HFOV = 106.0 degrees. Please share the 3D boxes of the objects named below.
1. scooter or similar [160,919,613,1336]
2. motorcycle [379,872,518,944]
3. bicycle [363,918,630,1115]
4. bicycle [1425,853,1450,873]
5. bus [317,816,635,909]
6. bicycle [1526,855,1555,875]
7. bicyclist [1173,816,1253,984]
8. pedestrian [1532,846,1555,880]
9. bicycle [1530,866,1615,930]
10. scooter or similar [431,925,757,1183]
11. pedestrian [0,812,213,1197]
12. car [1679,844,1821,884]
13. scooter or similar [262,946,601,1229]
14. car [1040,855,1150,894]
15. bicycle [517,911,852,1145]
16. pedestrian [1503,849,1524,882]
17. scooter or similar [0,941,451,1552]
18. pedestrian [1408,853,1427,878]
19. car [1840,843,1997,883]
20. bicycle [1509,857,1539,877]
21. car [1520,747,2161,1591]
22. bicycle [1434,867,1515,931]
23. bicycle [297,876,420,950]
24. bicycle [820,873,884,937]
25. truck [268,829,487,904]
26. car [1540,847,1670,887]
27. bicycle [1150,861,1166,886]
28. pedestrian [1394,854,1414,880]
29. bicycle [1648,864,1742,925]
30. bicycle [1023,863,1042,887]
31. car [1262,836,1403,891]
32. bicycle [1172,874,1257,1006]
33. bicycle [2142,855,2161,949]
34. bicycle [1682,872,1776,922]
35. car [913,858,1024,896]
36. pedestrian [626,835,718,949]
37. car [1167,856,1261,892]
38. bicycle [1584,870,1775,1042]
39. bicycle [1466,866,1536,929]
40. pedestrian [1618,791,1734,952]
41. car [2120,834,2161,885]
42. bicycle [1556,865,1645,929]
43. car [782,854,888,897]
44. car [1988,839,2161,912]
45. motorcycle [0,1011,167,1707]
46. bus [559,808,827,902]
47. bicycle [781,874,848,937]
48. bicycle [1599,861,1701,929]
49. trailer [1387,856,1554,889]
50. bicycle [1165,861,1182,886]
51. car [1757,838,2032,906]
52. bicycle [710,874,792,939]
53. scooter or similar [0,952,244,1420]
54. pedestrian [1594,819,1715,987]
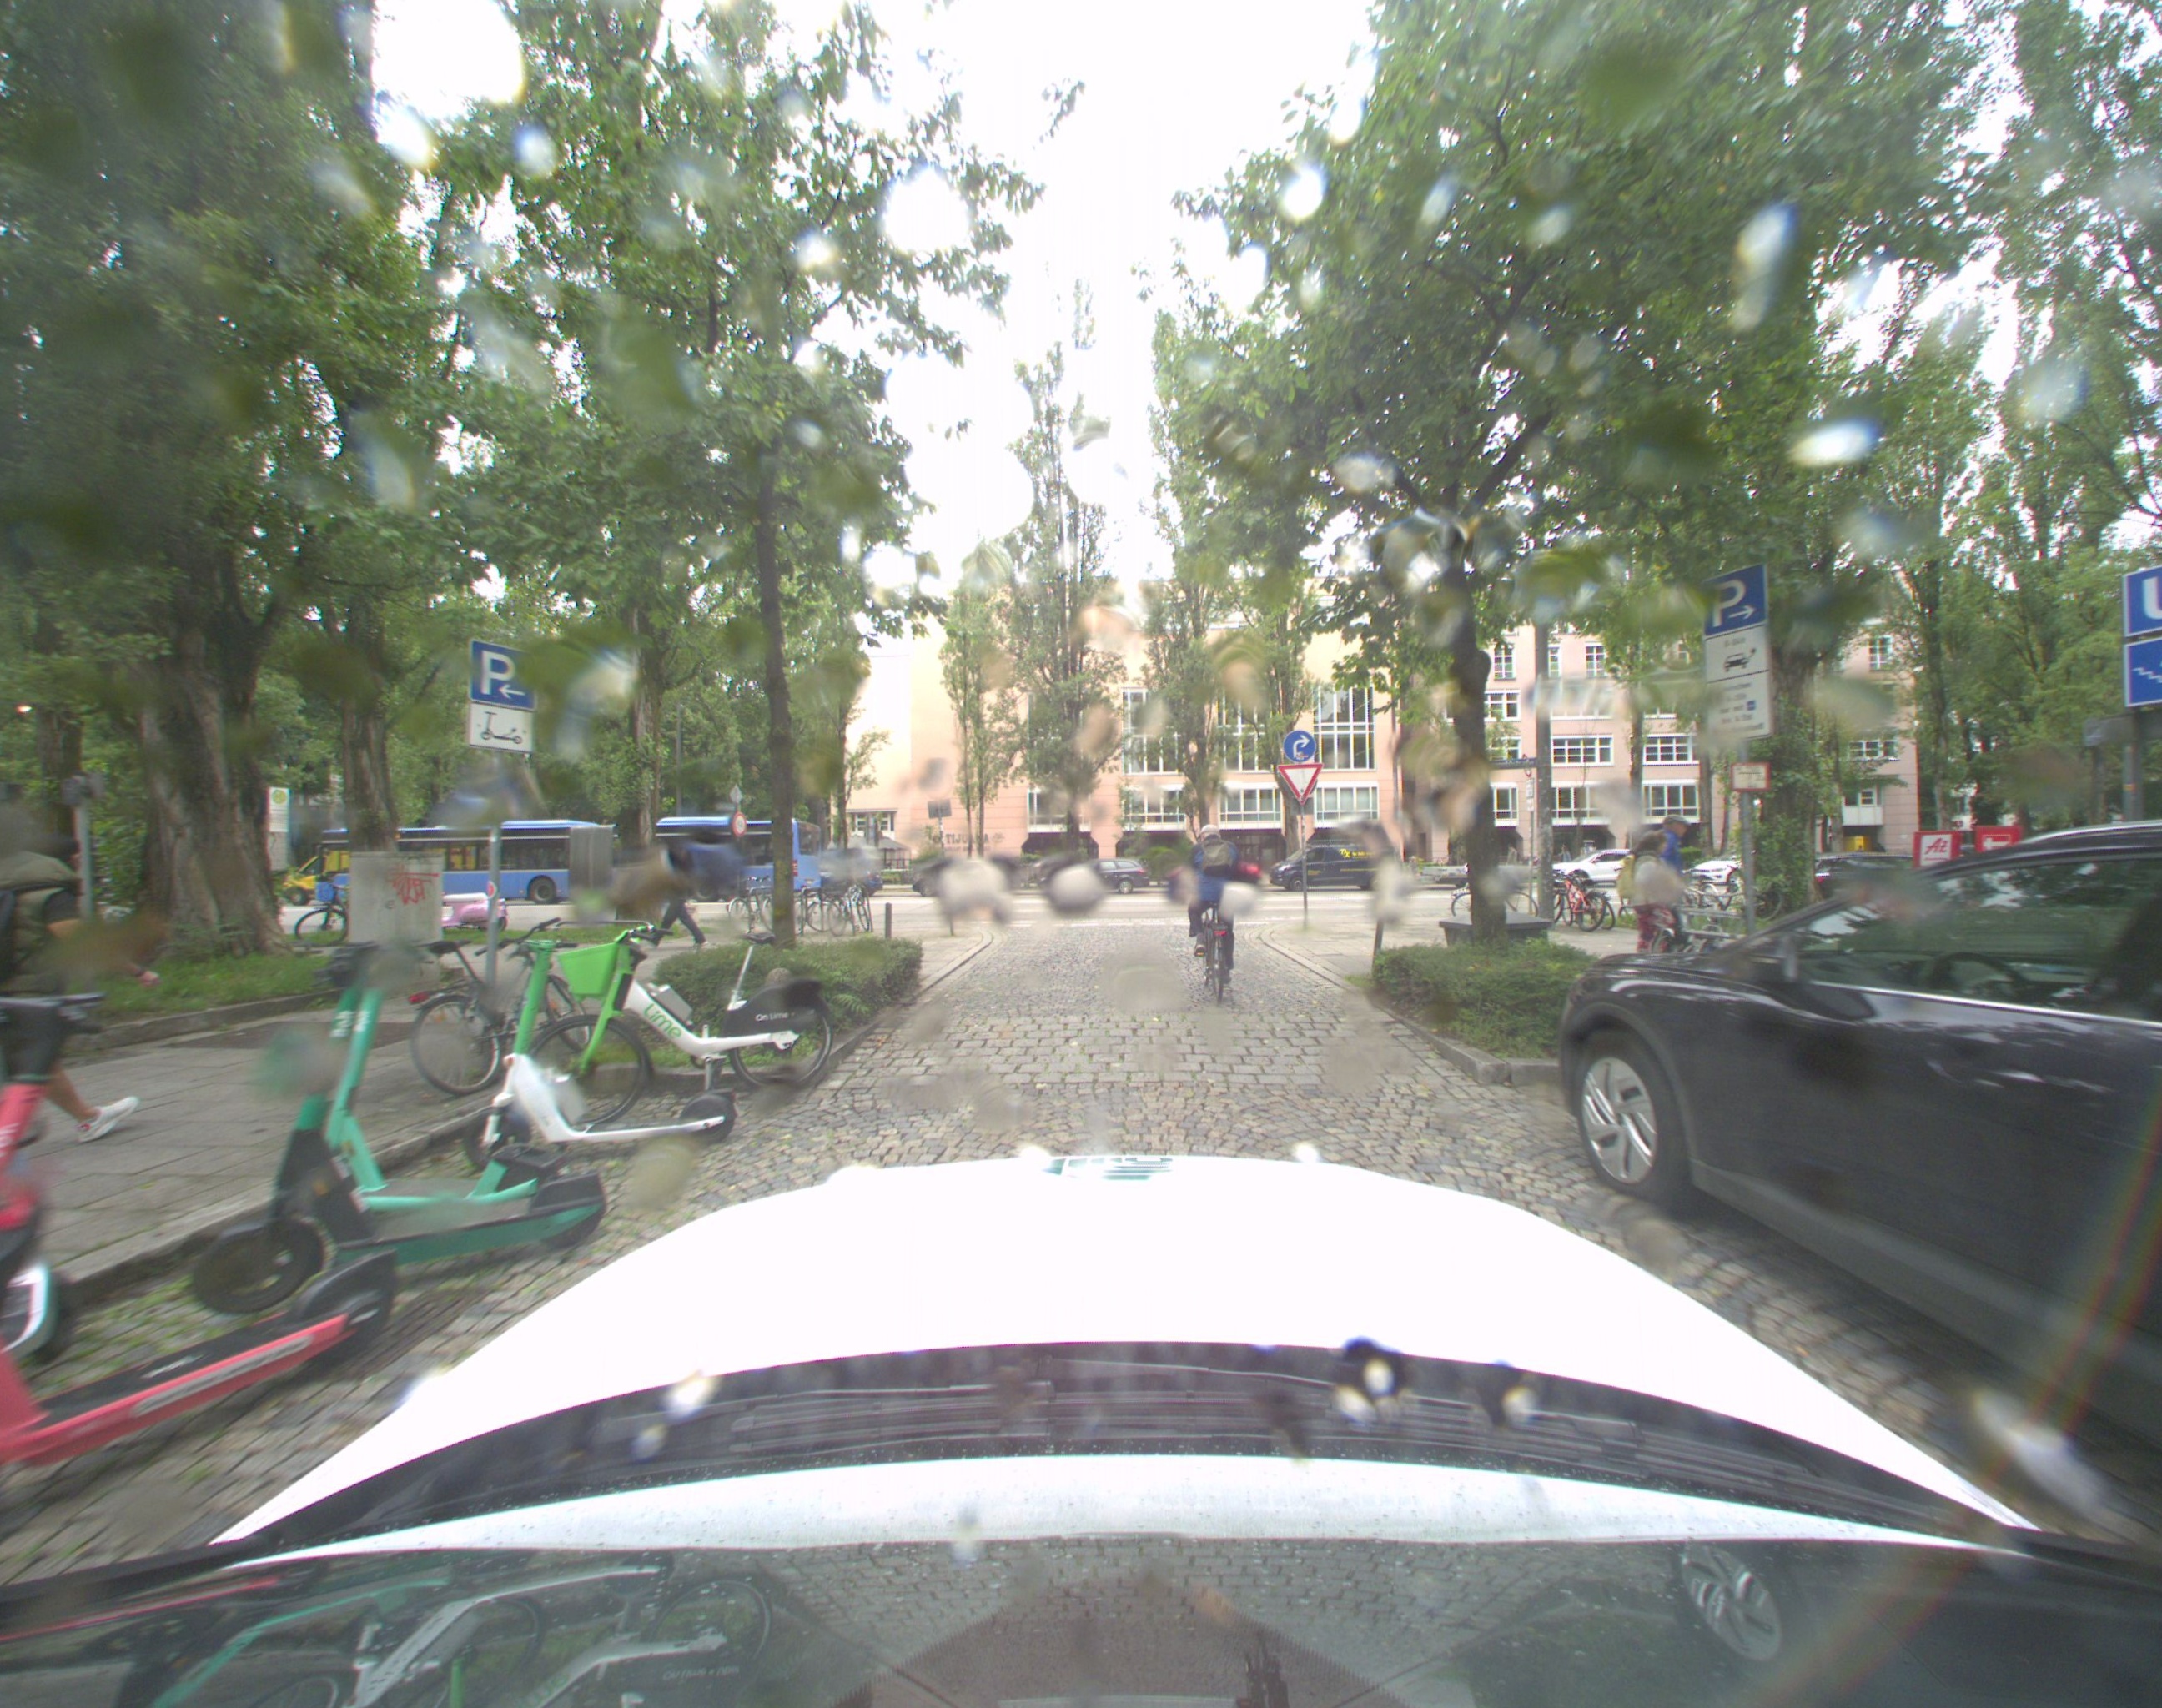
[{"bbox_3d":[-2.527,0.930,3.106,1.254,1.273,0.324,-1,0,-28],"label":"scooter or similar"},{"bbox_3d":[-11.758,0.963,15.193,2.002,1.196,0.622,-2,0,-41],"label":"motorcycle"},{"bbox_3d":[-3.957,1.033,5.712,0.550,1.022,1.763,-1,0,1],"label":"bicycle"},{"bbox_3d":[20.977,0.509,47.967,0.671,1.124,1.991,-2,0,4],"label":"bicycle"},{"bbox_3d":[-22.340,0.310,30.407,9.725,3.052,2.929,-2,0,2],"label":"bus"},{"bbox_3d":[26.788,0.610,47.470,0.671,1.124,1.991,-2,0,4],"label":"bicycle"},{"bbox_3d":[1.318,0.448,8.254,0.718,1.619,0.758,-1,0,5],"label":"bicyclist"},{"bbox_3d":[23.485,0.463,41.354,0.726,1.713,0.710,-1,0,4],"label":"pedestrian"},{"bbox_3d":[8.679,0.754,14.465,0.472,1.050,1.879,-1,-1,5],"label":"bicycle"},{"bbox_3d":[-2.516,0.999,4.350,1.431,1.144,0.367,-1,0,-22],"label":"scooter or similar"},{"bbox_3d":[-5.170,0.691,4.128,0.747,1.773,0.706,1,0,2],"label":"pedestrian"},{"bbox_3d":[28.042,0.418,34.241,4.295,1.542,2.000,-1,0,0],"label":"car"},{"bbox_3d":[-2.833,1.004,3.585,1.242,1.144,0.328,-1,0,3],"label":"scooter or similar"},{"bbox_3d":[0.645,0.877,35.324,4.589,1.529,1.795,-1,0,3],"label":"car"},{"bbox_3d":[-2.384,0.982,5.055,1.767,1.143,0.549,-1,0,-29],"label":"bicycle"},{"bbox_3d":[22.644,0.614,42.650,0.726,1.713,0.710,-1,0,4],"label":"pedestrian"},{"bbox_3d":[-2.543,0.951,2.243,0.324,1.273,1.362,-1,0,13],"label":"scooter or similar"},{"bbox_3d":[18.371,0.624,44.444,0.726,1.369,0.710,-1,0,4],"label":"pedestrian"},{"bbox_3d":[34.650,0.372,33.797,4.291,1.542,2.002,-1,0,4],"label":"car"},{"bbox_3d":[25.758,0.736,47.400,0.671,1.124,2.109,-2,0,4],"label":"bicycle"},{"bbox_3d":[3.137,0.628,2.002,1.913,1.700,4.202,-1,0,1],"label":"car"},{"bbox_3d":[7.045,0.774,14.683,0.473,1.050,1.875,-1,-1,-2],"label":"bicycle"},{"bbox_3d":[-12.398,1.001,14.004,1.604,1.188,0.584,-1,0,2],"label":"bicycle"},{"bbox_3d":[-4.306,0.938,15.405,0.487,1.093,1.707,-1,0,8],"label":"bicycle"},{"bbox_3d":[-29.238,0.509,34.005,7.026,2.907,2.604,-1,0,4],"label":"truck"},{"bbox_3d":[21.810,0.552,34.044,4.200,1.542,1.809,-2,-2,5],"label":"car"},{"bbox_3d":[3.675,0.911,39.009,0.671,1.124,1.744,-2,0,4],"label":"bicycle"},{"bbox_3d":[17.564,0.717,44.301,0.710,1.369,0.725,-1,-1,-26],"label":"pedestrian"},{"bbox_3d":[11.008,0.696,14.675,0.509,1.038,1.837,-1,-1,8],"label":"bicycle"},{"bbox_3d":[-2.374,1.029,39.884,0.671,1.124,1.991,-2,0,4],"label":"bicycle"},{"bbox_3d":[10.677,0.404,34.905,5.456,2.197,2.025,-1,0,3],"label":"car"},{"bbox_3d":[1.303,0.797,8.249,0.713,1.148,1.903,-1,-1,6],"label":"bicycle"},{"bbox_3d":[14.214,0.577,9.758,1.849,1.160,0.590,-1,0,14],"label":"bicycle"},{"bbox_3d":[11.727,0.754,14.805,0.467,0.818,1.837,-1,-1,8],"label":"bicycle"},{"bbox_3d":[-4.874,0.991,35.566,4.481,1.529,1.795,-1,0,3],"label":"car"},{"bbox_3d":[-6.443,0.580,12.877,0.952,1.711,0.858,-2,0,1],"label":"pedestrian"},{"bbox_3d":[5.650,0.838,34.893,3.841,1.449,1.681,-1,0,5],"label":"car"},{"bbox_3d":[4.691,0.719,6.537,0.471,1.136,1.882,-1,0,12],"label":"bicycle"},{"bbox_3d":[7.782,0.771,15.171,0.472,1.050,1.879,-1,0,5],"label":"bicycle"},{"bbox_3d":[6.550,0.193,9.005,0.798,1.696,0.666,-1,0,12],"label":"pedestrian"},{"bbox_3d":[39.019,0.139,27.614,4.779,1.722,2.002,-1,-1,3],"label":"car"},{"bbox_3d":[9.169,0.730,14.454,0.472,1.050,1.879,-1,-1,5],"label":"bicycle"},{"bbox_3d":[-10.745,0.952,35.746,4.050,1.732,1.794,-1,-2,1],"label":"car"},{"bbox_3d":[23.615,0.455,18.540,3.877,1.526,1.751,-1,1,4],"label":"car"},{"bbox_3d":[-2.604,0.967,0.915,2.002,1.196,0.762,-1,0,-41],"label":"motorcycle"},{"bbox_3d":[-14.125,0.032,30.103,8.455,3.052,2.929,-2,0,2],"label":"bus"},{"bbox_3d":[-5.074,0.957,15.601,0.487,1.093,1.707,-1,0,8],"label":"bicycle"},{"bbox_3d":[10.070,0.694,14.499,0.509,1.105,1.932,-1,-1,3],"label":"bicycle"},{"bbox_3d":[16.444,0.761,34.671,5.992,1.199,2.407,-1,0,4],"label":"trailer"},{"bbox_3d":[4.413,0.923,38.968,0.671,1.124,1.744,-2,0,4],"label":"bicycle"},{"bbox_3d":[18.674,0.389,18.883,4.410,1.427,1.760,-1,1,6],"label":"car"},{"bbox_3d":[-6.224,0.955,15.475,0.487,1.093,1.988,-1,0,8],"label":"bicycle"},{"bbox_3d":[-3.391,0.996,2.777,0.391,1.180,1.239,-1,0,-29],"label":"scooter or similar"},{"bbox_3d":[5.989,0.501,8.544,0.837,1.680,0.613,-1,0,12],"label":"pedestrian"}]
